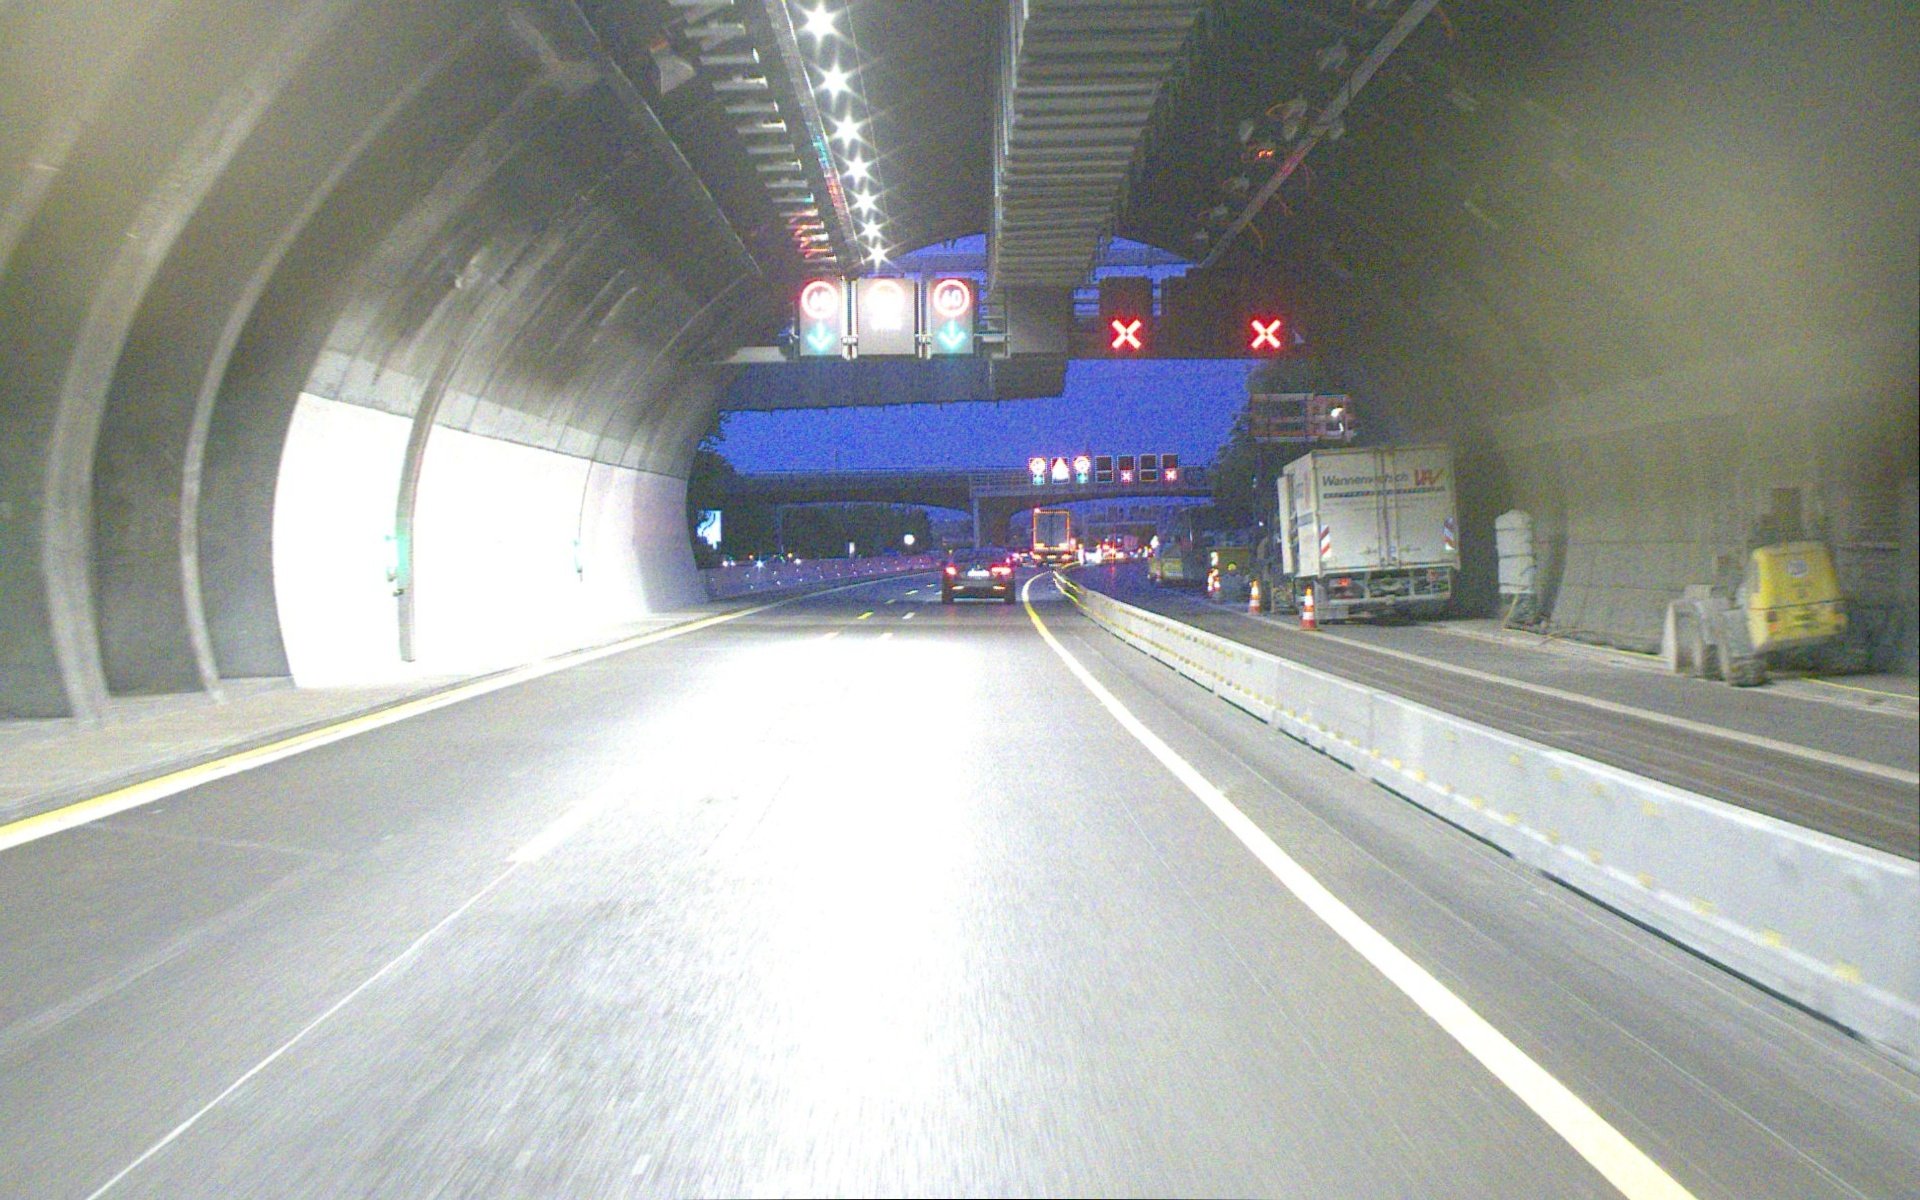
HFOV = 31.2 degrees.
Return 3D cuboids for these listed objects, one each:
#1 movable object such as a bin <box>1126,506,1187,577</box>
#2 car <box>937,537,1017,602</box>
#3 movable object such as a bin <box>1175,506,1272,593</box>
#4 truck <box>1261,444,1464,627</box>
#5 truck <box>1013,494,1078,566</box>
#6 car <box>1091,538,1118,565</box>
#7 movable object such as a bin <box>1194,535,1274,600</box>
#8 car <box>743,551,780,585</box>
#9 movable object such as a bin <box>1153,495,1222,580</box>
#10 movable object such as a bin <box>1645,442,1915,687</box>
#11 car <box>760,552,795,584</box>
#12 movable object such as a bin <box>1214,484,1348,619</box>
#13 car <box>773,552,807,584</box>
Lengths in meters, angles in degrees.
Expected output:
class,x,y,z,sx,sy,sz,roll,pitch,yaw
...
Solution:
class,x,y,z,sx,sy,sz,roll,pitch,yaw
movable object such as a bin,9.703,-2.870,170.150,2.737,3.443,6.946,0,1,1
car,0.402,-0.784,87.830,1.887,1.601,4.000,0,1,-2
movable object such as a bin,8.504,-1.631,111.612,2.737,2.744,7.049,0,1,1
truck,7.574,-1.199,65.710,2.892,3.261,8.401,0,1,0
truck,6.092,-4.943,245.265,4.546,4.970,9.599,0,1,1
car,10.891,-3.651,259.124,1.993,2.007,4.000,0,1,1
movable object such as a bin,7.857,-0.937,98.923,1.978,1.809,3.836,0,1,0
car,-11.934,-1.910,206.497,1.993,2.007,4.000,0,1,0
movable object such as a bin,9.953,-2.720,150.983,2.737,3.666,6.333,0,1,1
movable object such as a bin,8.657,-0.378,36.624,1.756,2.372,4.000,-3,1,-1
car,-11.498,-2.017,216.588,1.993,2.007,4.000,0,1,0
movable object such as a bin,6.955,-1.049,75.238,2.238,2.784,7.233,0,1,0
car,-11.065,-2.091,223.510,1.993,2.007,4.000,0,1,0
